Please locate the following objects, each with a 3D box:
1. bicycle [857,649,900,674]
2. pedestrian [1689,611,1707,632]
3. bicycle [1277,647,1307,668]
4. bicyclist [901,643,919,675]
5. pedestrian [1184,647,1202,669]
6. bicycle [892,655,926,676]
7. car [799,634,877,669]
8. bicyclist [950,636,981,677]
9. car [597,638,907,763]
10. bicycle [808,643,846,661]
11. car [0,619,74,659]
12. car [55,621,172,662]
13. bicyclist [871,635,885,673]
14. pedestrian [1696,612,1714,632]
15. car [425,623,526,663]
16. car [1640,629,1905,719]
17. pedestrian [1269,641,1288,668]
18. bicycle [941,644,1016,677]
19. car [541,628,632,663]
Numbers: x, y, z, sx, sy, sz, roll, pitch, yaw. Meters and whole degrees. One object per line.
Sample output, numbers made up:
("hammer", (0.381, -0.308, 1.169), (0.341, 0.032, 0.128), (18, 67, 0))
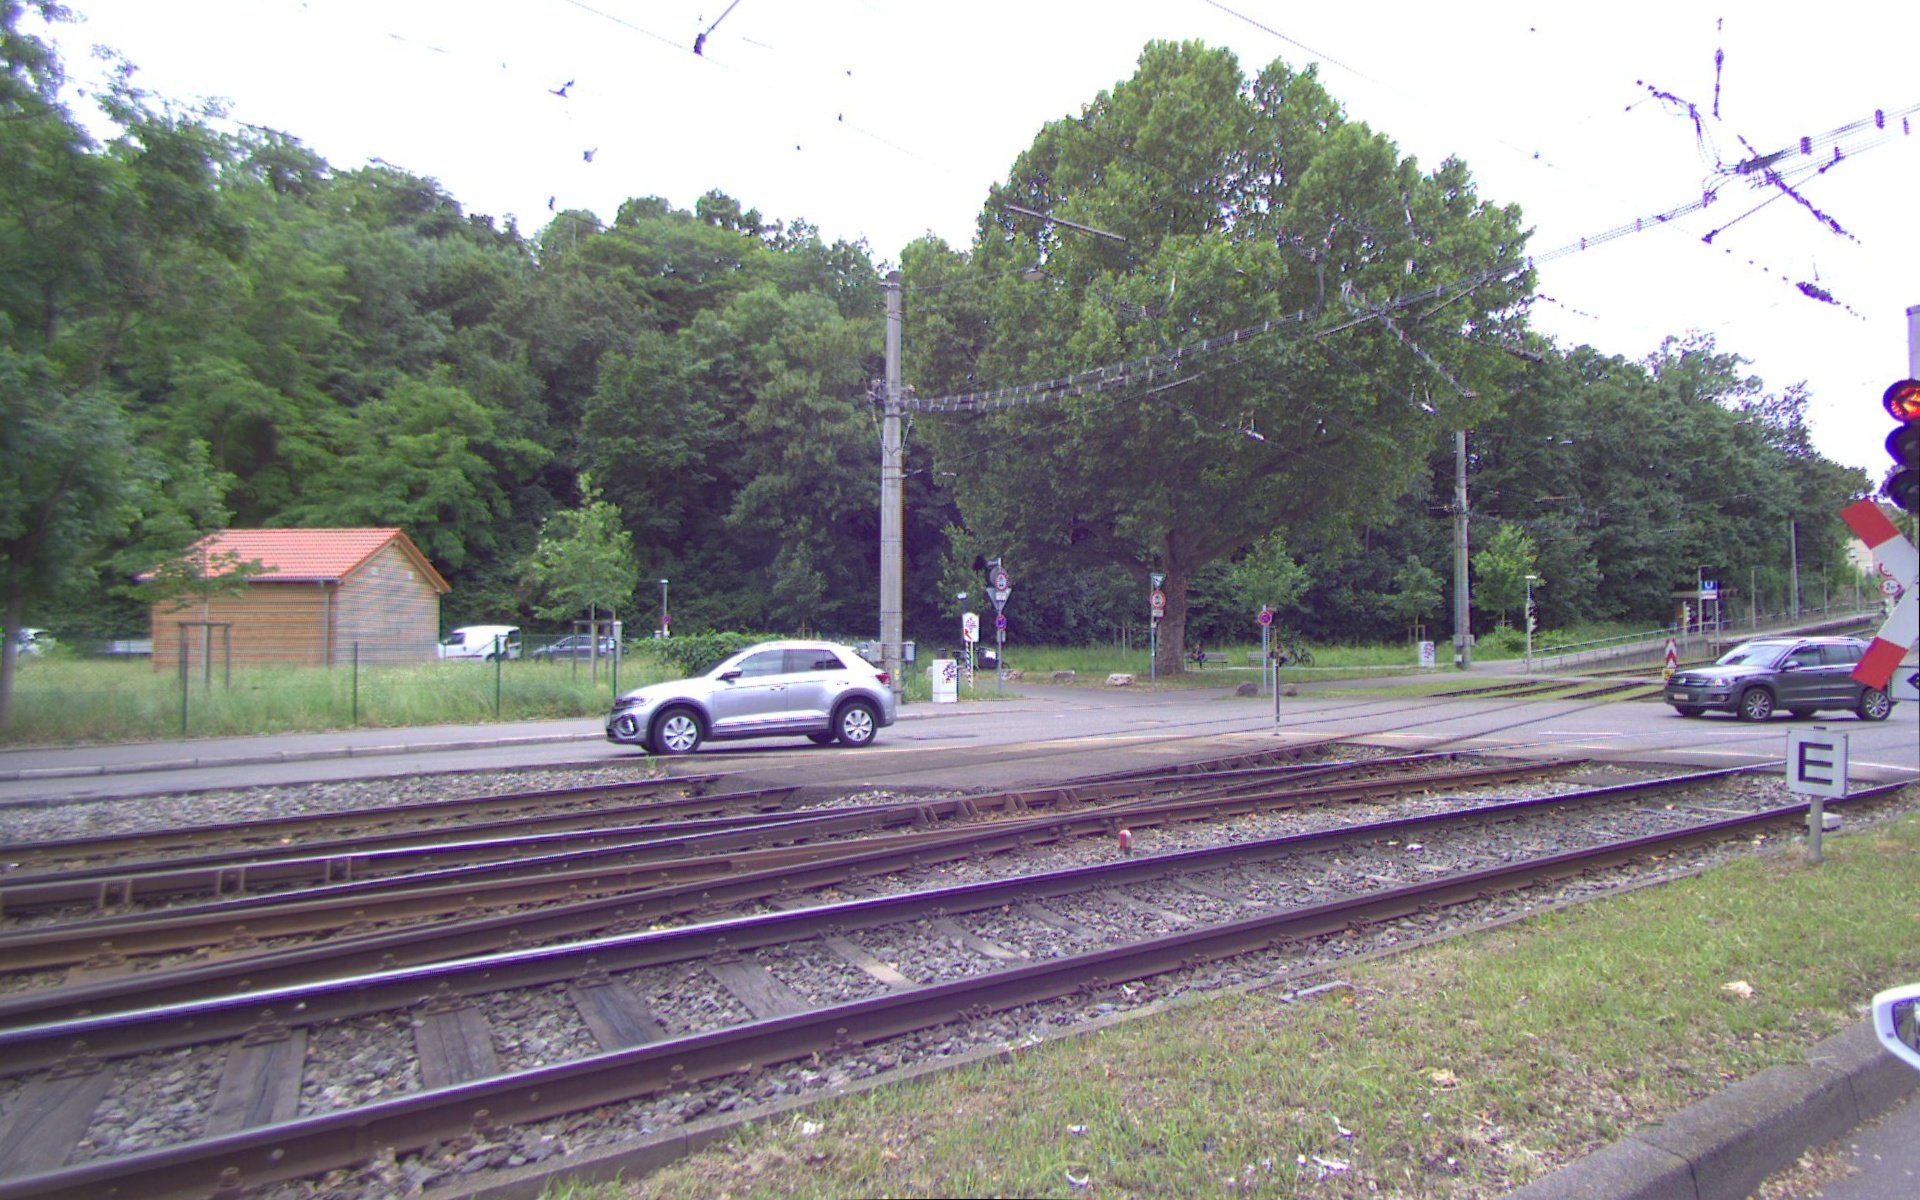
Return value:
("bicycle", (-3.694, 2.795, 45.574), (1.907, 1.055, 0.475), (0, 1, -4))
("pedestrian", (48.953, 1.441, 66.622), (0.780, 1.344, 0.766), (-1, 2, -37))
("bicycle", (16.313, 2.822, 49.367), (0.611, 0.897, 1.743), (2, 0, -10))
("bicyclist", (-2.173, 2.552, 43.743), (0.577, 1.319, 0.449), (-4, 3, -44))
("pedestrian", (11.215, 2.801, 48.352), (0.610, 1.003, 0.530), (2, 0, -15))
("bicycle", (-2.214, 2.846, 43.710), (1.548, 0.749, 0.449), (-4, 3, -44))
("car", (-5.653, 2.387, 46.850), (3.436, 1.443, 1.700), (2, 0, -3))
("bicyclist", (0.238, 2.526, 45.115), (1.268, 1.734, 0.734), (-2, 2, -7))
("car", (-3.068, 1.382, 14.860), (4.125, 1.599, 1.986), (1, -3, -28))
("bicycle", (-5.820, 2.279, 44.097), (1.621, 0.749, 0.454), (-1, 2, -6))
("car", (-41.786, 1.692, 44.360), (3.612, 1.634, 1.756), (2, 0, -6))
("car", (-37.593, 1.820, 44.681), (3.610, 1.634, 1.757), (2, 0, -3))
("bicyclist", (-3.718, 2.462, 45.567), (0.611, 1.697, 0.475), (0, 2, -3))
("pedestrian", (49.875, 1.472, 67.267), (0.780, 1.344, 0.766), (2, 0, -38))
("car", (-21.907, 1.940, 45.525), (3.610, 1.634, 1.909), (2, 0, -3))
("car", (16.744, 1.527, 20.834), (4.057, 1.740, 1.906), (1, -4, -5))
("pedestrian", (15.454, 2.648, 48.731), (0.662, 1.251, 0.578), (2, 0, -16))
("bicycle", (0.839, 2.727, 45.205), (3.284, 1.307, 0.734), (-2, 2, -7))
("car", (-16.860, 2.041, 45.468), (3.436, 1.443, 1.700), (2, 0, -3))
